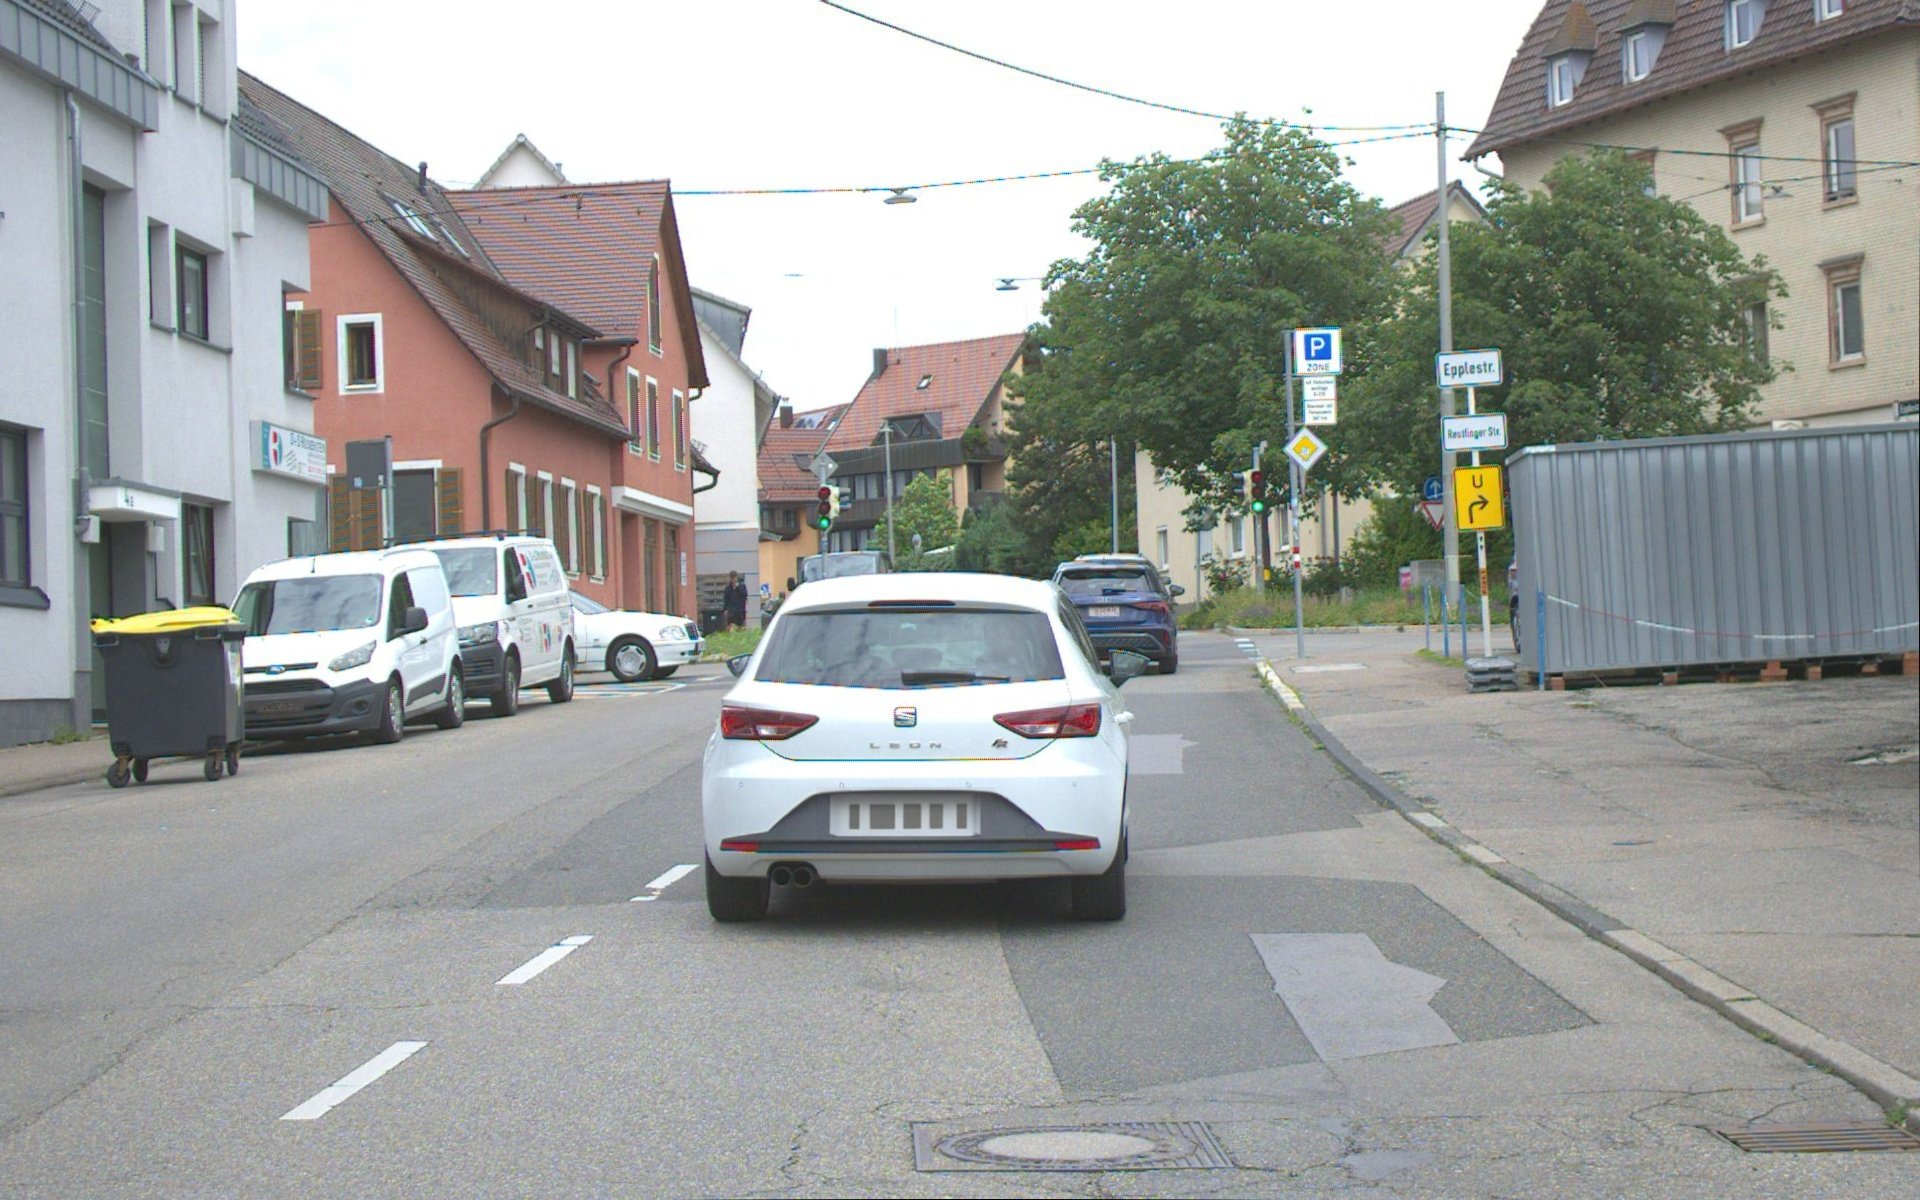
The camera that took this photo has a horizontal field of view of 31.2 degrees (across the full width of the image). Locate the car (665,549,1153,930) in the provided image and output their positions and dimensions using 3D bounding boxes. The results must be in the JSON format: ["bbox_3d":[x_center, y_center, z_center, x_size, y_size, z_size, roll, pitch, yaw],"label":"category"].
[{"bbox_3d":[-0.094,0.534,15.383,1.759,1.447,3.999,-1,0,5],"label":"car"}]

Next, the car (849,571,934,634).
[{"bbox_3d":[-1.881,0.099,92.508,1.997,1.627,4.858,-1,-1,-4],"label":"car"}]

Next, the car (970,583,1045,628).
[{"bbox_3d":[1.619,0.208,117.756,1.758,1.447,4.001,1,-1,-11],"label":"car"}]

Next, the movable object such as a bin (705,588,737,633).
[{"bbox_3d":[-5.632,0.244,81.117,0.665,1.015,0.795,-2,0,0],"label":"movable object such as a bin"}]

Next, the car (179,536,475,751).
[{"bbox_3d":[-5.967,0.354,32.906,1.733,1.825,4.297,-4,1,3],"label":"car"}]

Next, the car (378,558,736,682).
[{"bbox_3d":[-5.591,0.270,47.984,4.554,1.440,2.000,-3,0,7],"label":"car"}]

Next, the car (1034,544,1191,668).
[{"bbox_3d":[1.876,0.098,43.303,1.758,1.447,4.000,-1,-1,0],"label":"car"}]

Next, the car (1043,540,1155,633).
[{"bbox_3d":[2.324,-0.195,57.358,1.758,1.447,3.999,-1,-1,3],"label":"car"}]

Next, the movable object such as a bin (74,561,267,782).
[{"bbox_3d":[-6.160,0.535,26.925,1.140,1.627,1.563,-3,1,-3],"label":"movable object such as a bin"}]

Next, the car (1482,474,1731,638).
[{"bbox_3d":[7.563,-0.528,40.657,1.746,1.733,4.572,-3,1,-3],"label":"car"}]

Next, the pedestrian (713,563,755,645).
[{"bbox_3d":[-4.945,0.086,75.250,0.800,1.778,0.893,-1,0,3],"label":"pedestrian"}]

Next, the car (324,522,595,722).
[{"bbox_3d":[-5.518,0.190,38.517,1.812,1.999,4.762,-4,1,5],"label":"car"}]

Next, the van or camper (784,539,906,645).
[{"bbox_3d":[-2.390,-0.133,72.923,2.074,1.999,4.856,-4,-2,3],"label":"van or camper"}]
